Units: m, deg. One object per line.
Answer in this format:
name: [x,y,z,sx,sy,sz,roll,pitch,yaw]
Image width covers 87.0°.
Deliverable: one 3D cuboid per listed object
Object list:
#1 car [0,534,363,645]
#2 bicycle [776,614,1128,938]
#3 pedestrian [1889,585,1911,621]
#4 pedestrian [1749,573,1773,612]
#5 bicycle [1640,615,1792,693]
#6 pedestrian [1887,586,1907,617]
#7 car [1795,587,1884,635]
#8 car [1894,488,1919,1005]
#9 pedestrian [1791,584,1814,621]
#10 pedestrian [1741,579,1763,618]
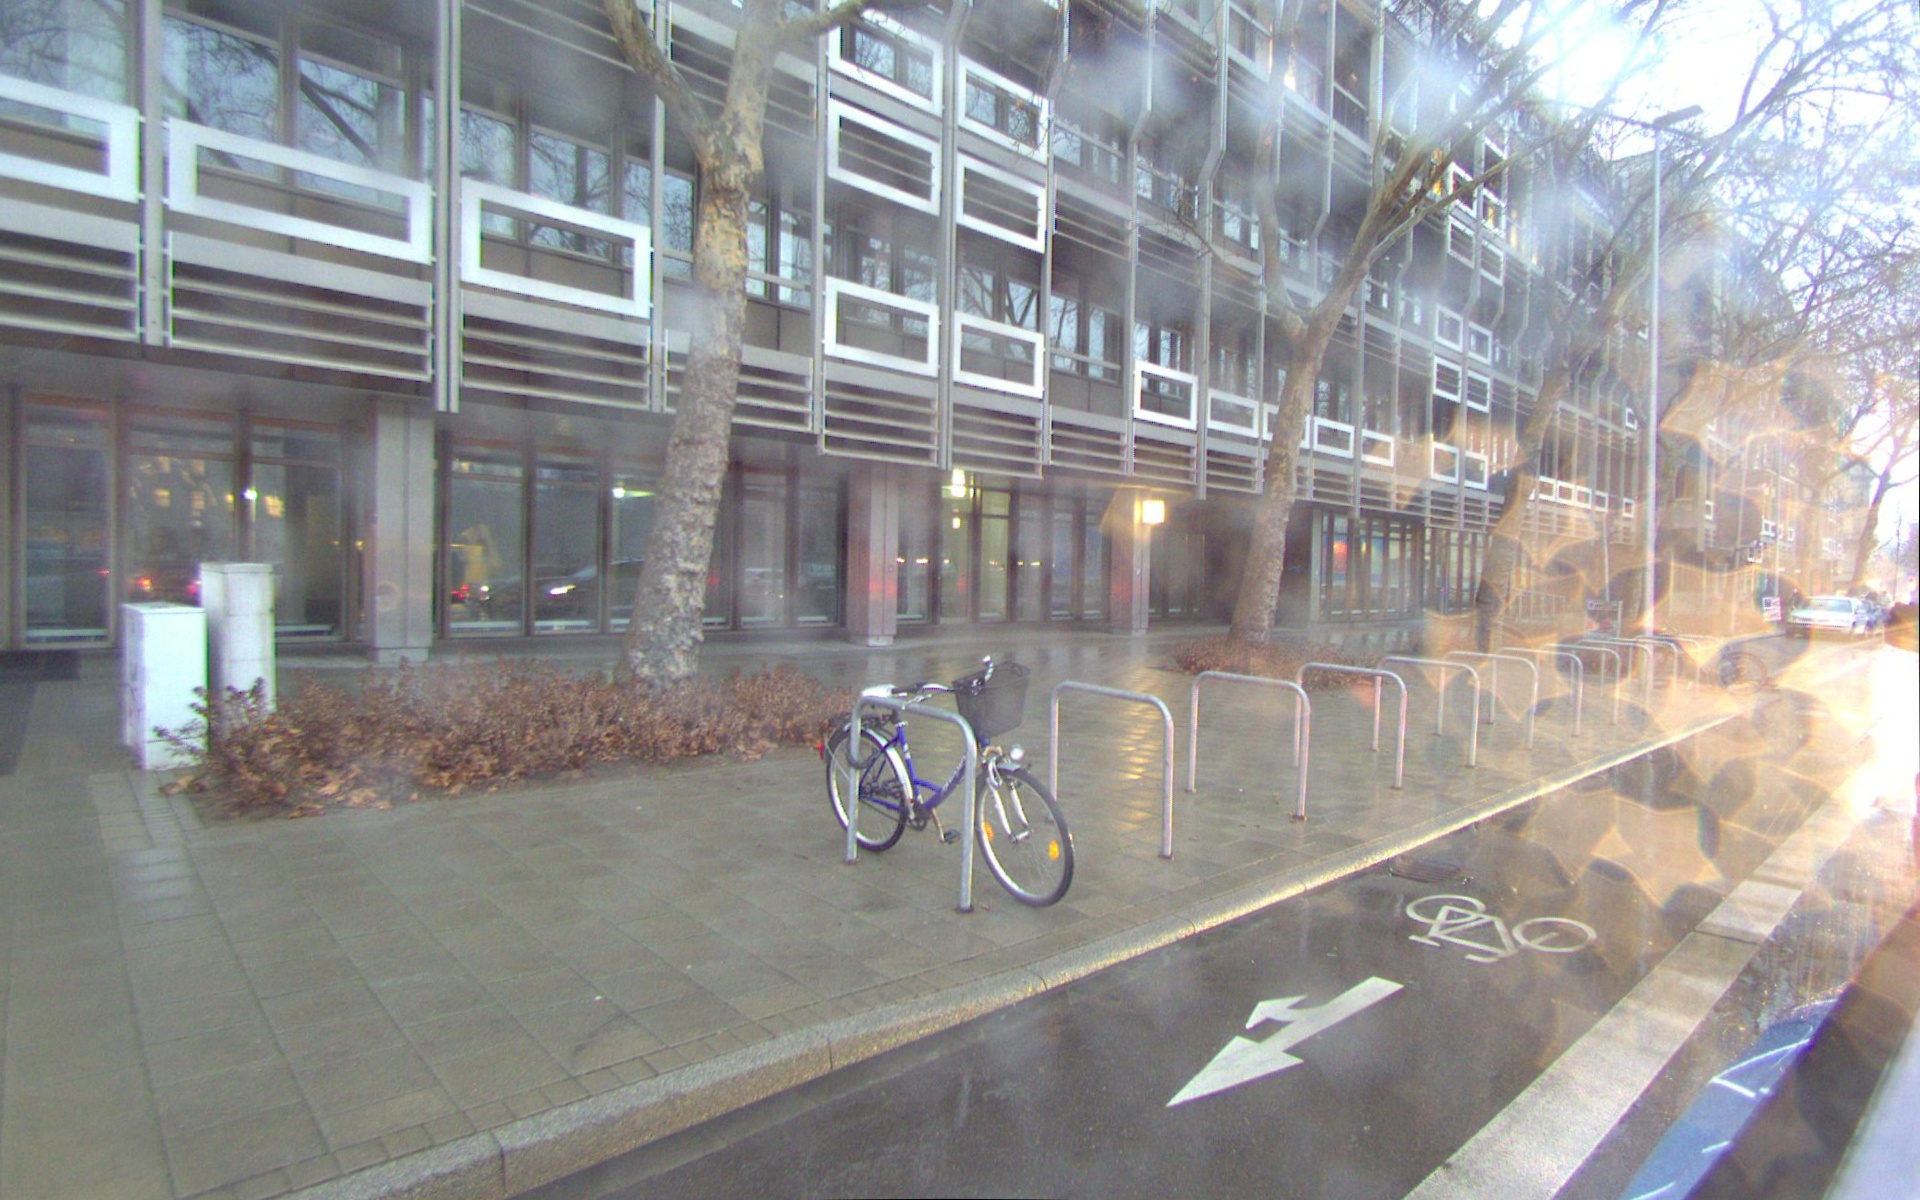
car: [-10.719,-0.181,14.055,3.929,1.326,1.998,0,3,-40]
bicycle: [-0.125,0.713,4.879,0.629,1.145,1.810,2,2,-41]
pedestrian: [47.161,0.139,50.781,0.765,1.771,0.913,2,2,45]
pedestrian: [45.961,-0.444,58.060,1.056,2.222,1.096,0,0,38]
bicycle: [11.631,0.797,15.608,0.864,1.004,1.704,0,4,-41]
pedestrian: [54.504,0.094,58.873,0.765,1.771,0.913,2,2,45]
car: [29.406,0.330,33.792,3.930,1.482,1.711,-1,1,-41]
car: [5.493,0.510,4.311,3.931,1.864,1.876,-1,0,-42]
pedestrian: [41.120,0.099,49.388,0.765,1.771,0.913,2,2,45]
pedestrian: [41.582,-0.101,53.135,0.912,2.004,0.699,0,2,-41]
